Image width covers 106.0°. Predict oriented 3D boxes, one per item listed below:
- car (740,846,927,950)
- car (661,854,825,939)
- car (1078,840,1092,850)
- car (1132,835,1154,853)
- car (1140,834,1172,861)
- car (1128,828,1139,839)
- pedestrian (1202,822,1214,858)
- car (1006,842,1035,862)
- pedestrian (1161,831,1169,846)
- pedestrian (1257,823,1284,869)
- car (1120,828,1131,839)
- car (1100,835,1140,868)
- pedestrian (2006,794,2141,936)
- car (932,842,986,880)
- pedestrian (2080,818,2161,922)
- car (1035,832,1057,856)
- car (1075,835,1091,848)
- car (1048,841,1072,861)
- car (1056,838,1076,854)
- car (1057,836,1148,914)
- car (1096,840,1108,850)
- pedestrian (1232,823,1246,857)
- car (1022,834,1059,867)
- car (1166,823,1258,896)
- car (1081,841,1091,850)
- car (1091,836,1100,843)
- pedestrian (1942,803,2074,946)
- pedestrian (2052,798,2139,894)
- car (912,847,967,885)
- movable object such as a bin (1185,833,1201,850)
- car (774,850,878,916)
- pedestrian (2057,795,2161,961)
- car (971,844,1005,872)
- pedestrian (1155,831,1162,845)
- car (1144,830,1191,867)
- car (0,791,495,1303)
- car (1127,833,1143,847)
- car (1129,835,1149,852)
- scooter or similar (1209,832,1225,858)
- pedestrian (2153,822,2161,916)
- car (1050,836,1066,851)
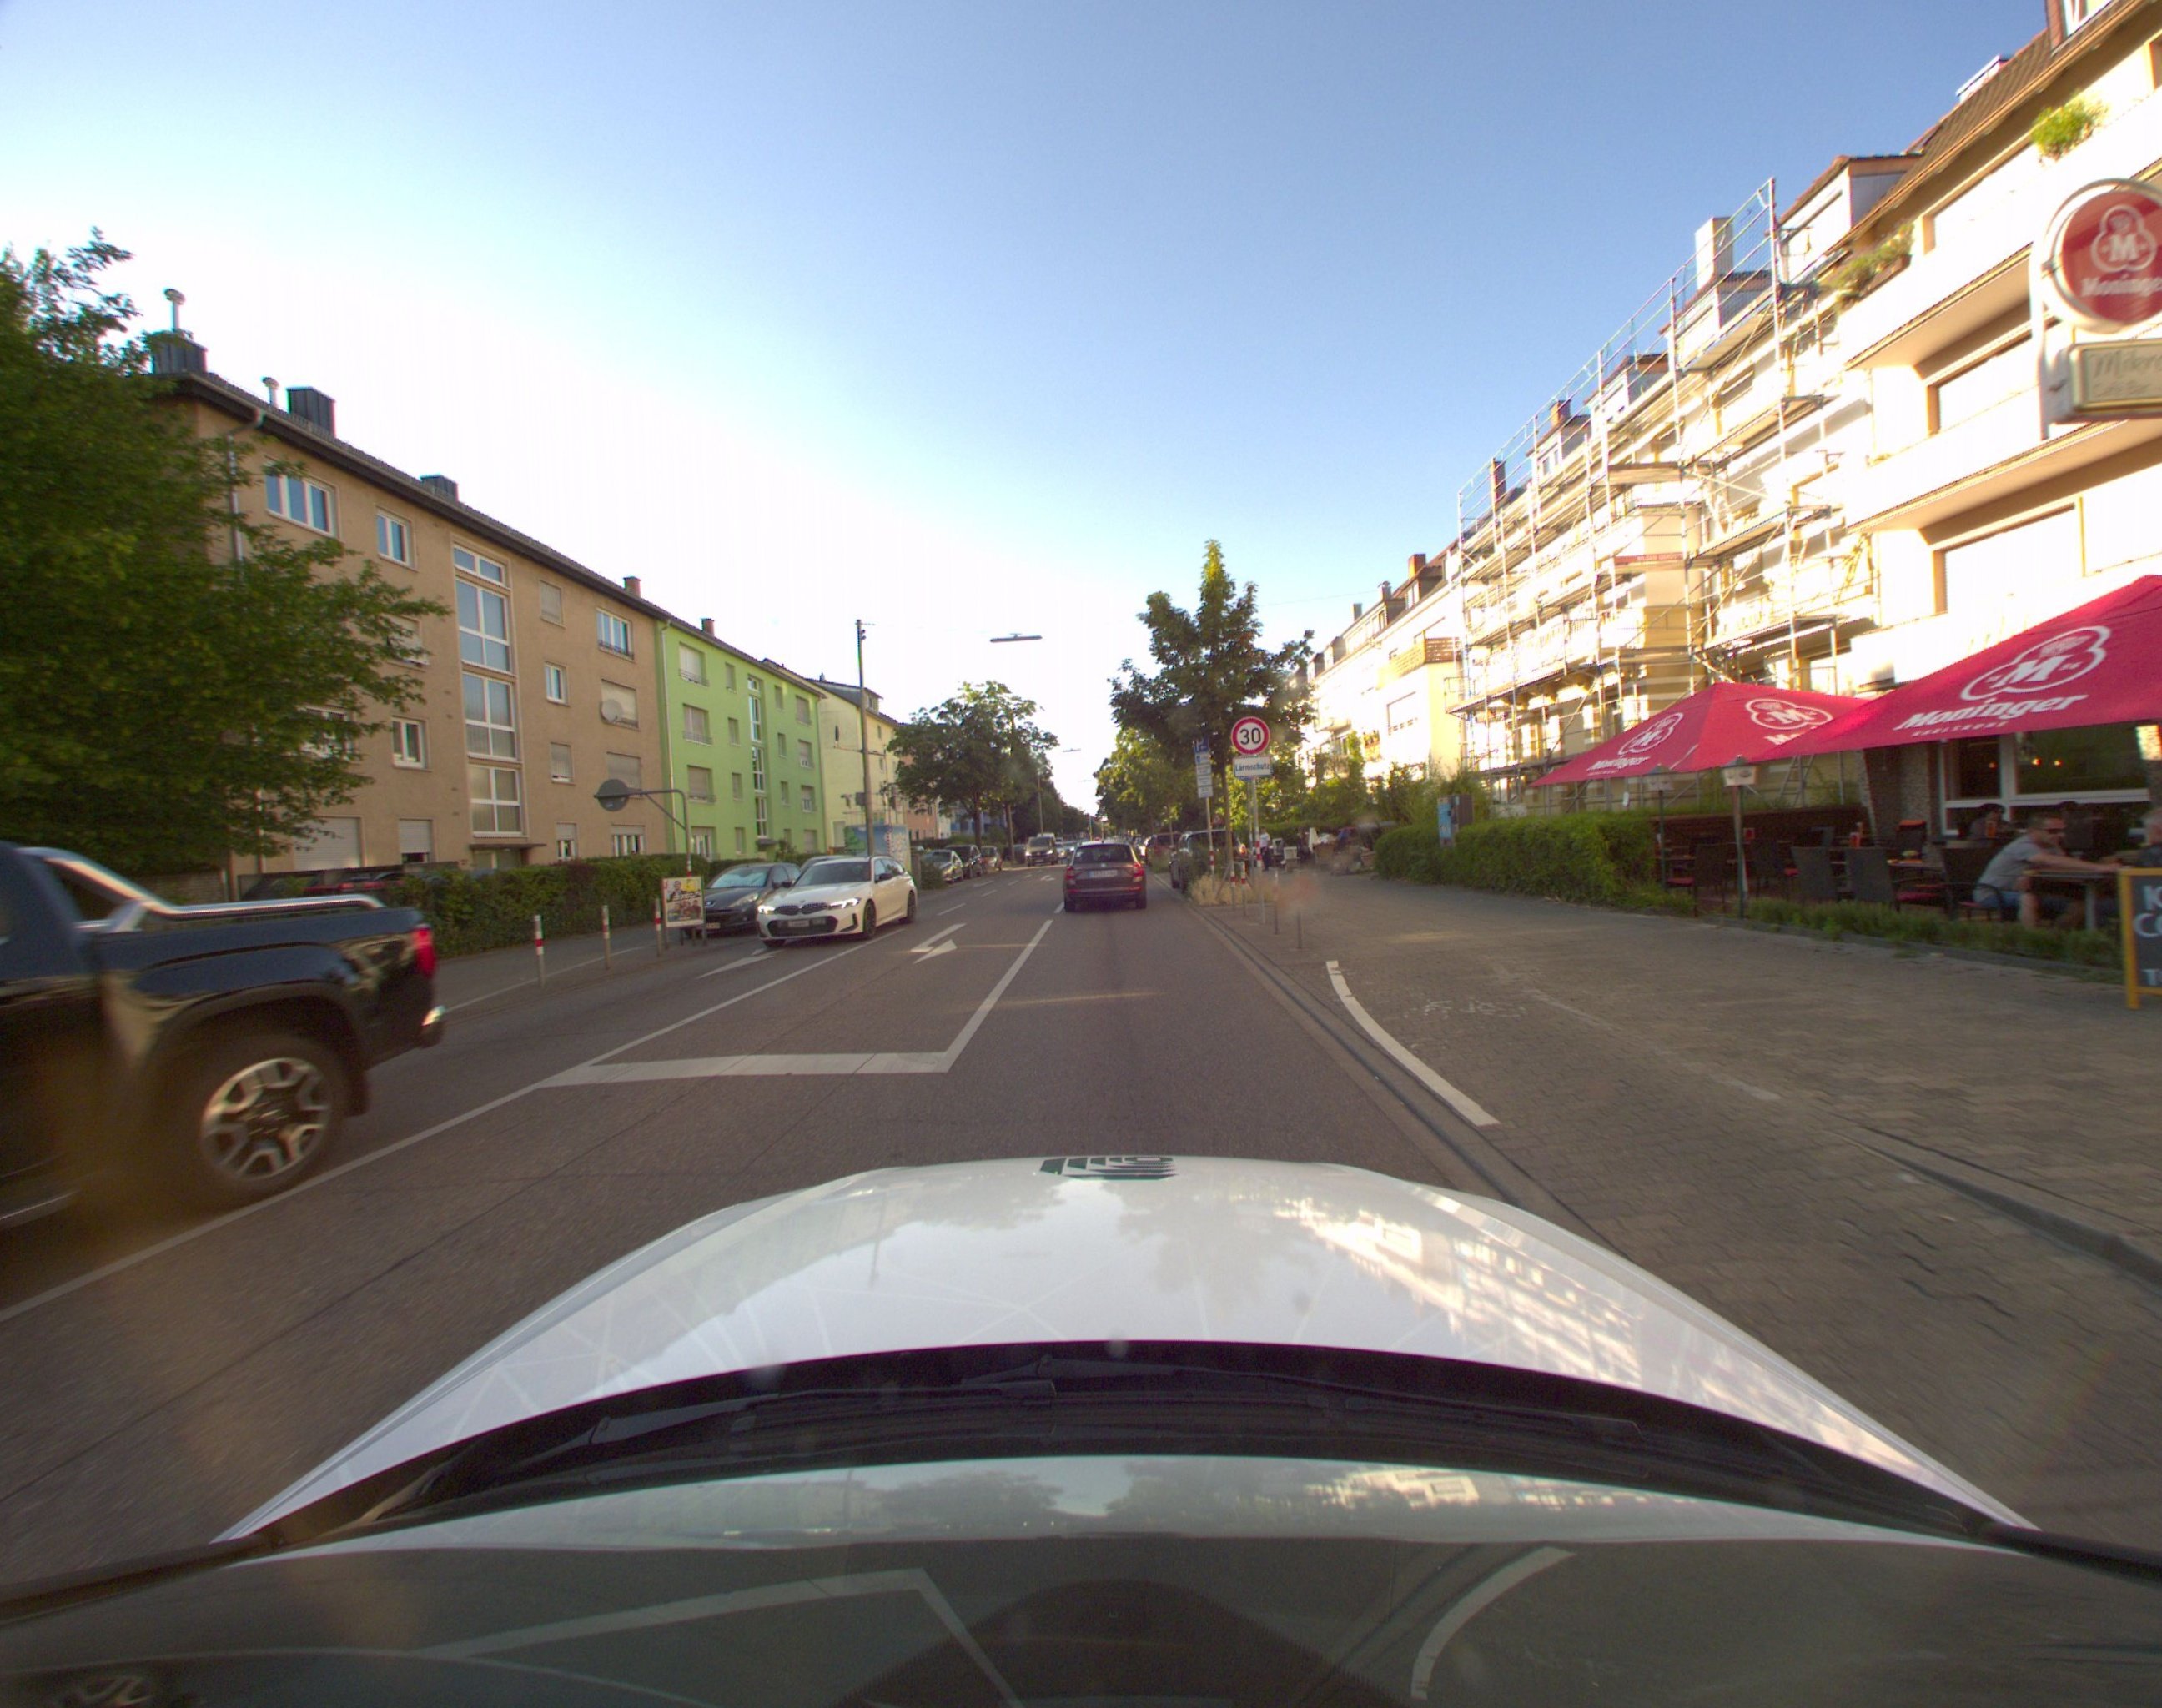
[{"bbox_3d":[-4.413,0.688,15.397,1.829,1.473,4.674,-5,1,2],"label":"car"},{"bbox_3d":[-7.154,0.826,17.698,1.646,1.479,3.947,-3,1,3],"label":"car"},{"bbox_3d":[0.655,-1.417,125.868,1.692,1.470,4.300,-4,1,5],"label":"car"},{"bbox_3d":[5.607,-0.940,73.943,1.712,1.494,4.395,-3,1,1],"label":"car"},{"bbox_3d":[4.616,-0.434,50.854,1.630,1.490,4.418,-4,1,2],"label":"car"},{"bbox_3d":[8.354,-3.257,130.120,1.746,1.686,4.257,-2,1,4],"label":"car"},{"bbox_3d":[6.759,-0.730,43.233,0.545,1.849,0.766,-3,1,9],"label":"pedestrian"},{"bbox_3d":[-5.015,-0.166,68.037,1.772,1.504,4.591,-3,1,2],"label":"car"},{"bbox_3d":[10.984,-2.072,105.961,0.793,1.861,0.954,-4,1,13],"label":"pedestrian"},{"bbox_3d":[6.596,-0.288,28.396,0.557,1.567,0.744,-3,1,-16],"label":"pedestrian"},{"bbox_3d":[7.986,-3.703,146.474,1.908,1.860,5.639,-3,1,4],"label":"car"},{"bbox_3d":[1.874,-0.116,39.949,1.885,1.506,3.791,0,0,2],"label":"car"},{"bbox_3d":[8.508,0.087,7.003,0.483,1.150,0.527,-3,0,6],"label":"pedestrian"},{"bbox_3d":[-6.219,0.299,42.129,1.776,1.732,4.621,-3,1,3],"label":"car"},{"bbox_3d":[11.034,0.161,8.553,0.521,1.049,0.414,-3,0,7],"label":"pedestrian"},{"bbox_3d":[-4.018,-1.185,94.087,1.986,2.616,7.108,-2,1,2],"label":"car"},{"bbox_3d":[0.241,-1.526,101.337,1.694,1.403,4.030,-5,1,2],"label":"car"},{"bbox_3d":[-1.810,-0.281,71.013,1.810,1.446,4.111,-6,1,1],"label":"car"},{"bbox_3d":[-1.586,-0.883,89.104,1.825,1.470,4.454,-6,1,2],"label":"car"},{"bbox_3d":[0.556,0.368,18.025,1.746,1.492,4.005,-2,1,4],"label":"car"},{"bbox_3d":[3.291,-1.463,127.711,1.776,1.480,3.969,-2,1,-1],"label":"car"},{"bbox_3d":[8.180,-0.720,42.266,0.509,1.696,0.527,-3,1,-3],"label":"pedestrian"},{"bbox_3d":[-2.734,-0.283,55.783,1.986,1.945,4.780,-5,1,2],"label":"car"},{"bbox_3d":[3.317,0.091,21.340,1.785,1.632,4.031,-3,1,1],"label":"car"},{"bbox_3d":[0.941,-1.633,158.953,1.874,1.542,4.265,-3,1,-1],"label":"car"},{"bbox_3d":[4.059,-4.081,228.033,1.989,1.749,3.996,-4,1,-3],"label":"car"},{"bbox_3d":[7.880,0.166,6.945,0.490,1.150,0.527,-3,0,6],"label":"pedestrian"},{"bbox_3d":[13.149,-0.099,10.570,0.521,1.189,0.414,-3,-1,7],"label":"pedestrian"},{"bbox_3d":[-6.409,0.511,37.268,1.677,1.521,4.192,-3,1,1],"label":"car"},{"bbox_3d":[10.572,-1.211,76.692,1.259,1.492,1.143,-5,1,12],"label":"movable object such as a bin"},{"bbox_3d":[-6.998,0.723,22.721,1.632,1.552,3.785,-3,1,-1],"label":"car"},{"bbox_3d":[7.736,0.155,5.959,0.410,1.150,0.633,-3,0,6],"label":"pedestrian"},{"bbox_3d":[-5.827,0.226,51.294,1.492,1.616,2.866,-3,1,5],"label":"car"},{"bbox_3d":[10.067,-2.078,106.217,0.746,1.861,1.068,-4,1,1],"label":"pedestrian"},{"bbox_3d":[4.237,-0.303,40.646,1.716,1.655,4.596,-3,1,-1],"label":"car"},{"bbox_3d":[-4.847,0.770,2.620,1.855,1.829,5.230,-5,1,2],"label":"car"},{"bbox_3d":[7.114,-1.844,107.230,1.794,1.808,4.424,-2,1,0],"label":"car"},{"bbox_3d":[5.712,-1.072,80.778,1.712,1.601,4.098,-3,1,2],"label":"car"},{"bbox_3d":[7.195,-0.489,43.170,0.742,1.317,0.723,-3,1,9],"label":"scooter or similar"},{"bbox_3d":[11.624,0.154,8.402,0.521,0.990,0.414,-3,0,7],"label":"pedestrian"},{"bbox_3d":[-3.268,-1.471,117.241,1.862,2.031,5.303,-2,1,1],"label":"car"}]
